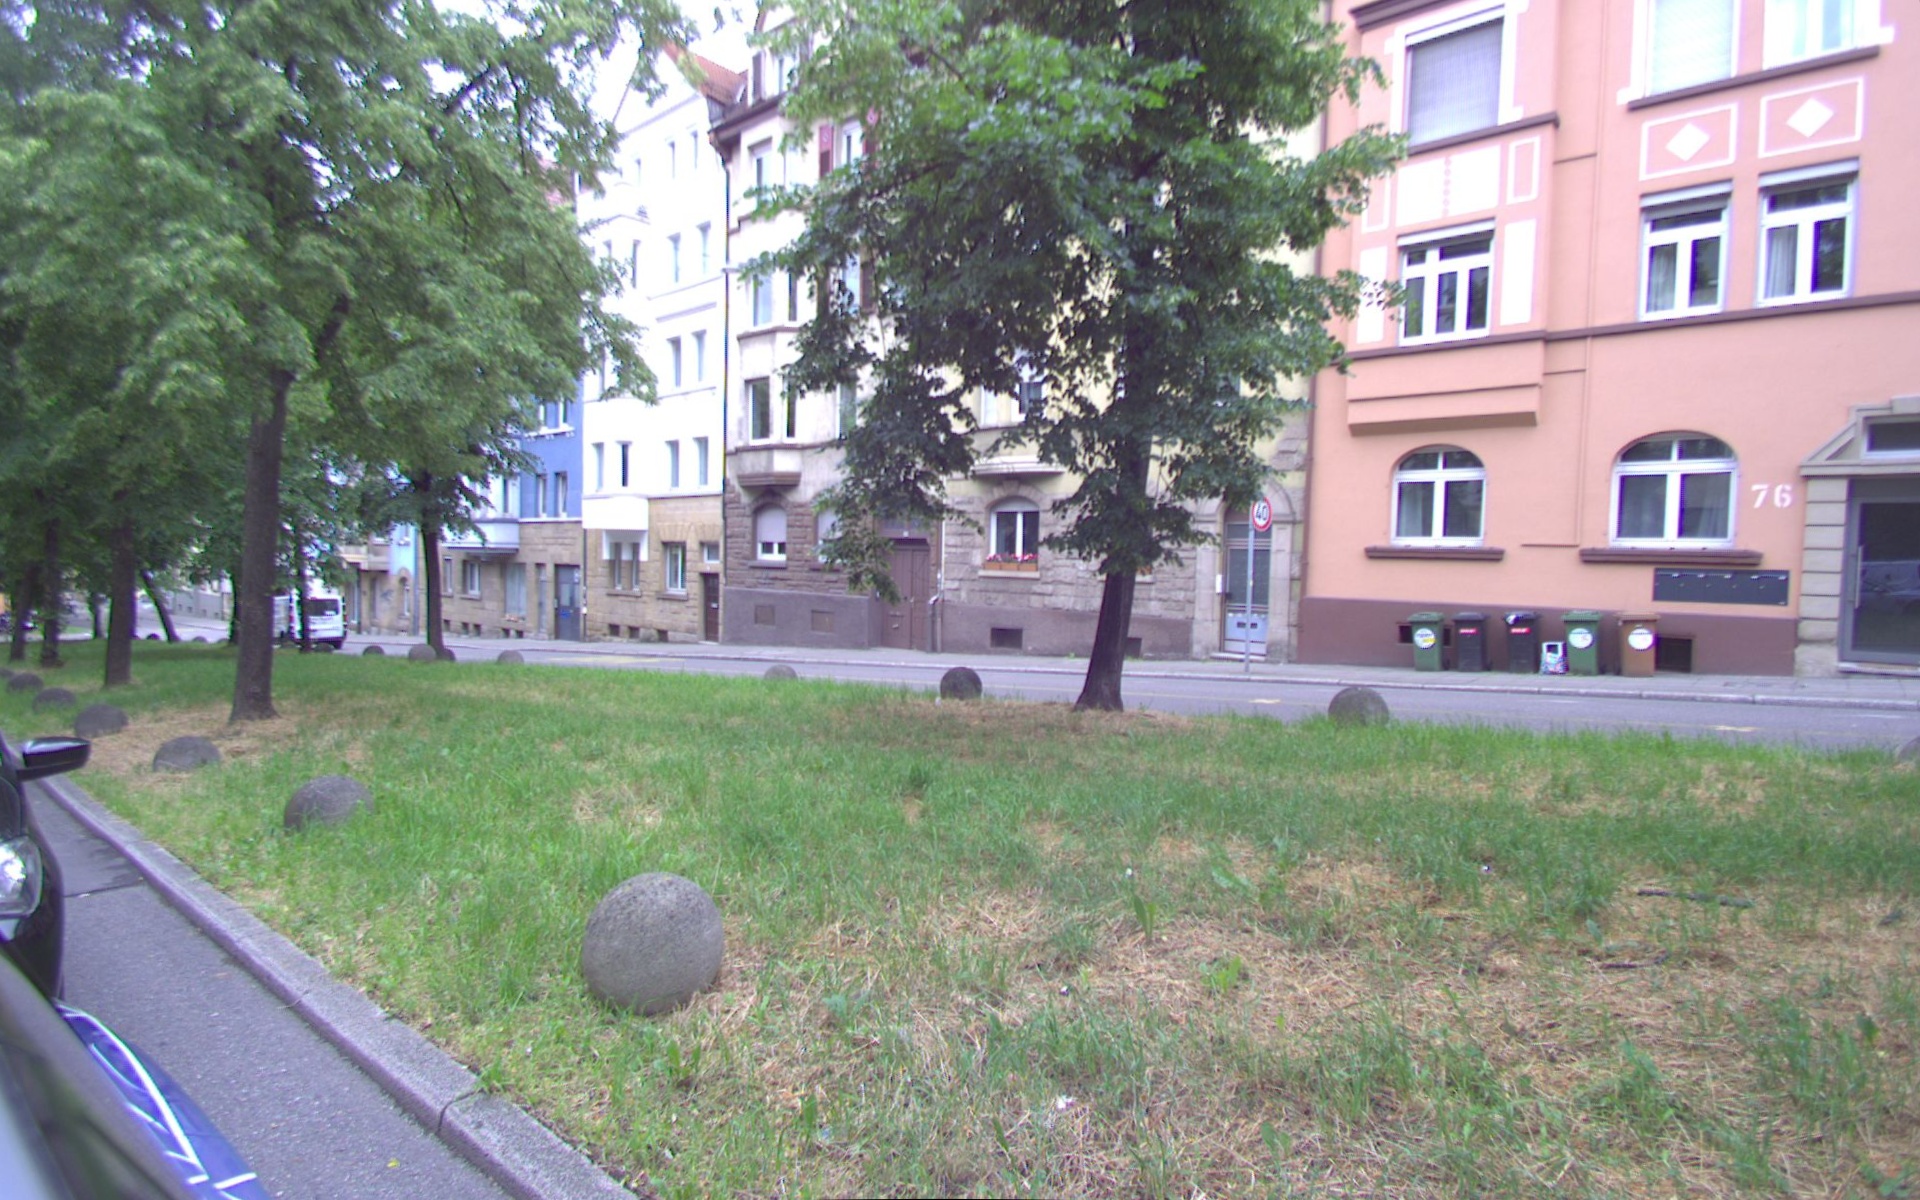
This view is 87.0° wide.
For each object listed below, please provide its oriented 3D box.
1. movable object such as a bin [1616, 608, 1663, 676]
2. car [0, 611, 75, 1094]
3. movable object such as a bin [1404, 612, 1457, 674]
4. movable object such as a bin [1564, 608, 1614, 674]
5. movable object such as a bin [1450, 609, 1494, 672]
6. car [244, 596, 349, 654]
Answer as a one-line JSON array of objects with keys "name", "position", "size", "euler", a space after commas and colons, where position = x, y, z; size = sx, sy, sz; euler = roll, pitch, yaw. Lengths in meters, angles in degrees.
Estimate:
[{"name": "movable object such as a bin", "position": [9.640, 0.577, 14.350], "size": [0.514, 0.928, 0.750], "euler": [-1, 0, 36]}, {"name": "car", "position": [-4.597, 0.774, 3.710], "size": [3.295, 1.476, 1.590], "euler": [-1, -2, 41]}, {"name": "movable object such as a bin", "position": [7.527, 0.668, 16.190], "size": [0.617, 0.955, 0.610], "euler": [-1, 0, 40]}, {"name": "movable object such as a bin", "position": [9.169, 0.584, 14.752], "size": [0.558, 0.928, 0.648], "euler": [-1, 0, 36]}, {"name": "movable object such as a bin", "position": [7.987, 0.624, 15.799], "size": [0.531, 0.953, 0.575], "euler": [-1, 0, 35]}, {"name": "car", "position": [-24.562, 0.912, 37.384], "size": [5.306, 1.959, 1.972], "euler": [-2, 0, 42]}]
